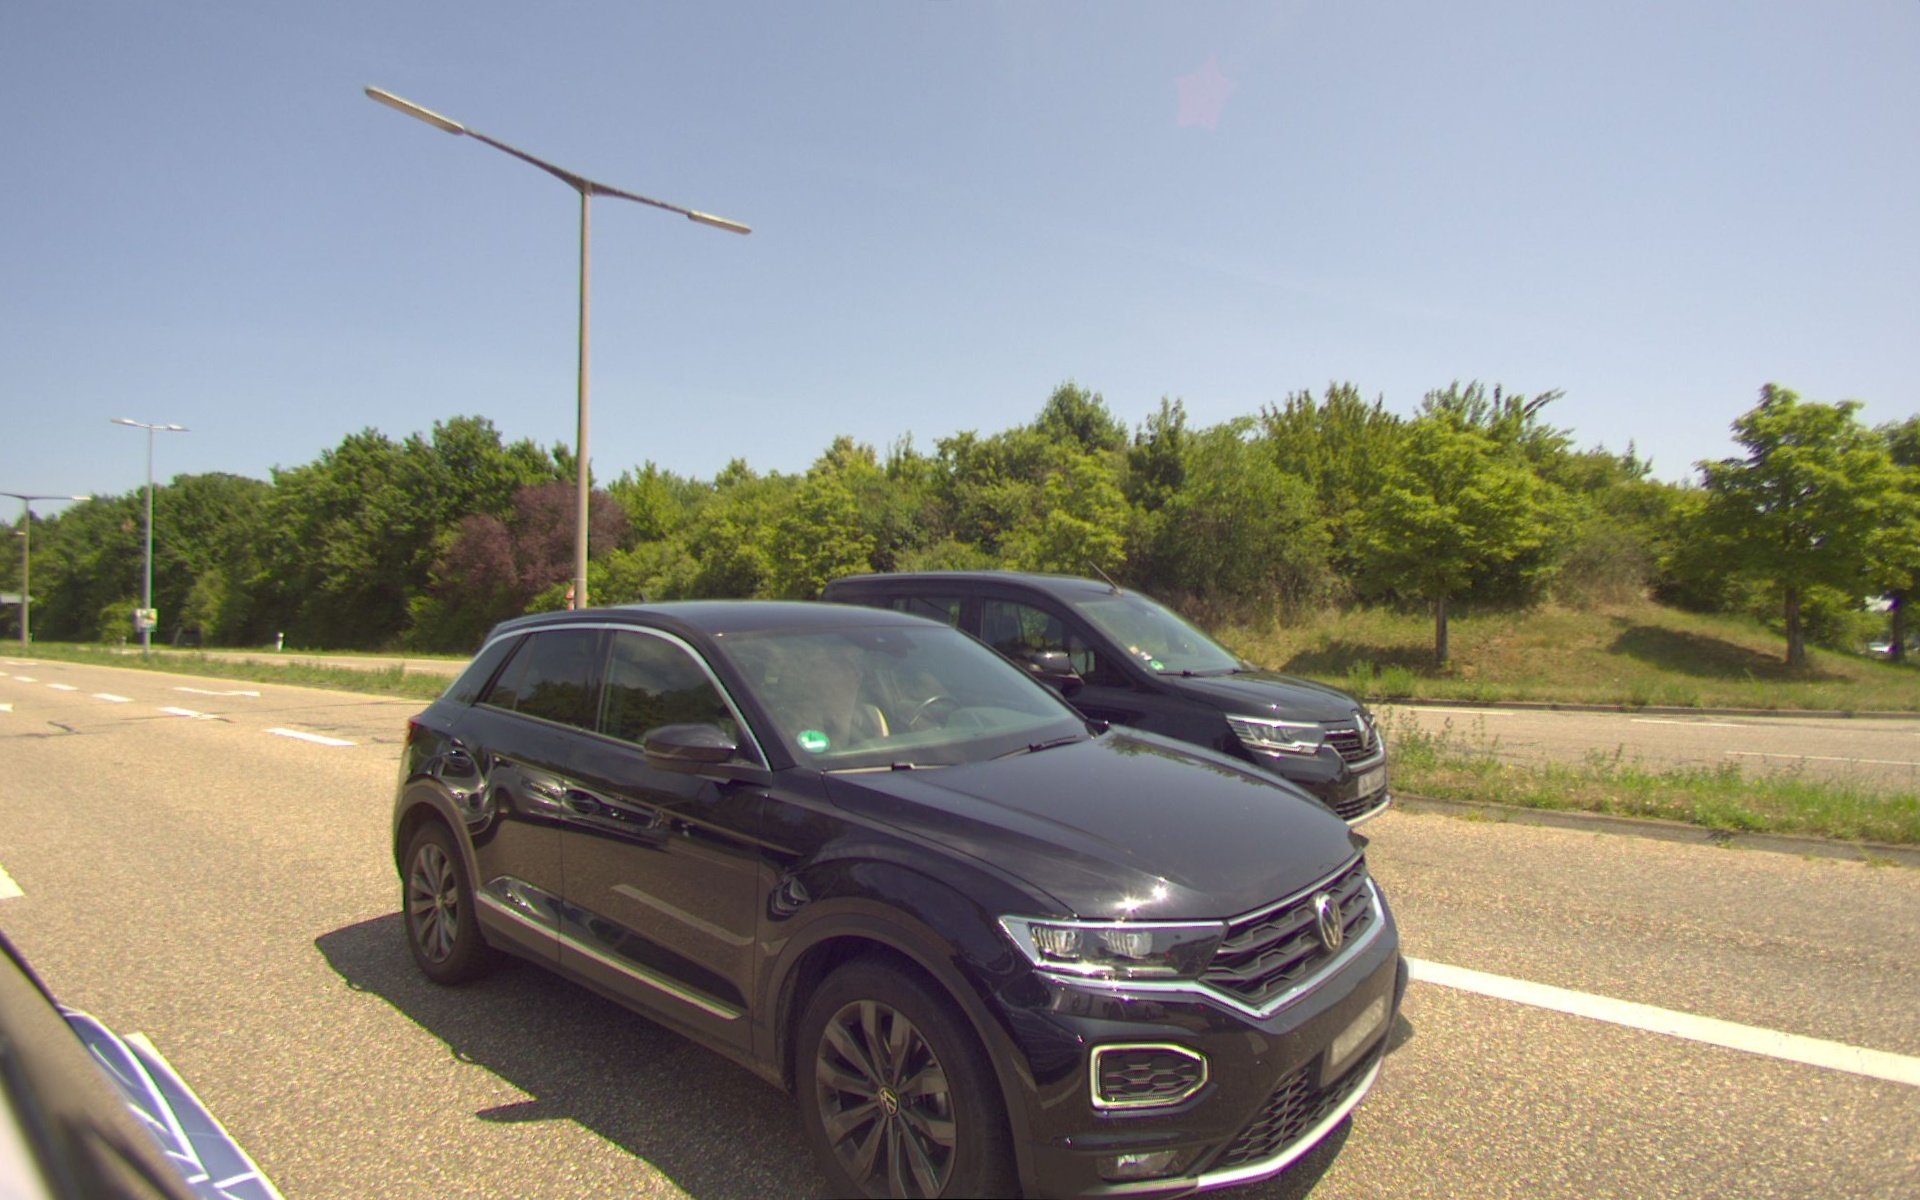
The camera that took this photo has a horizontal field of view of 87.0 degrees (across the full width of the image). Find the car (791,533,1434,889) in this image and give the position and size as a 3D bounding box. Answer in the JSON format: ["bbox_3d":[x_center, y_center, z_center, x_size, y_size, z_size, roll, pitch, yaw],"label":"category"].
[{"bbox_3d":[0.867,0.630,7.287,4.317,1.840,1.714,-2,-2,39],"label":"car"}]

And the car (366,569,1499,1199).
[{"bbox_3d":[-0.468,0.723,3.637,3.969,1.523,1.716,-1,0,41],"label":"car"}]
